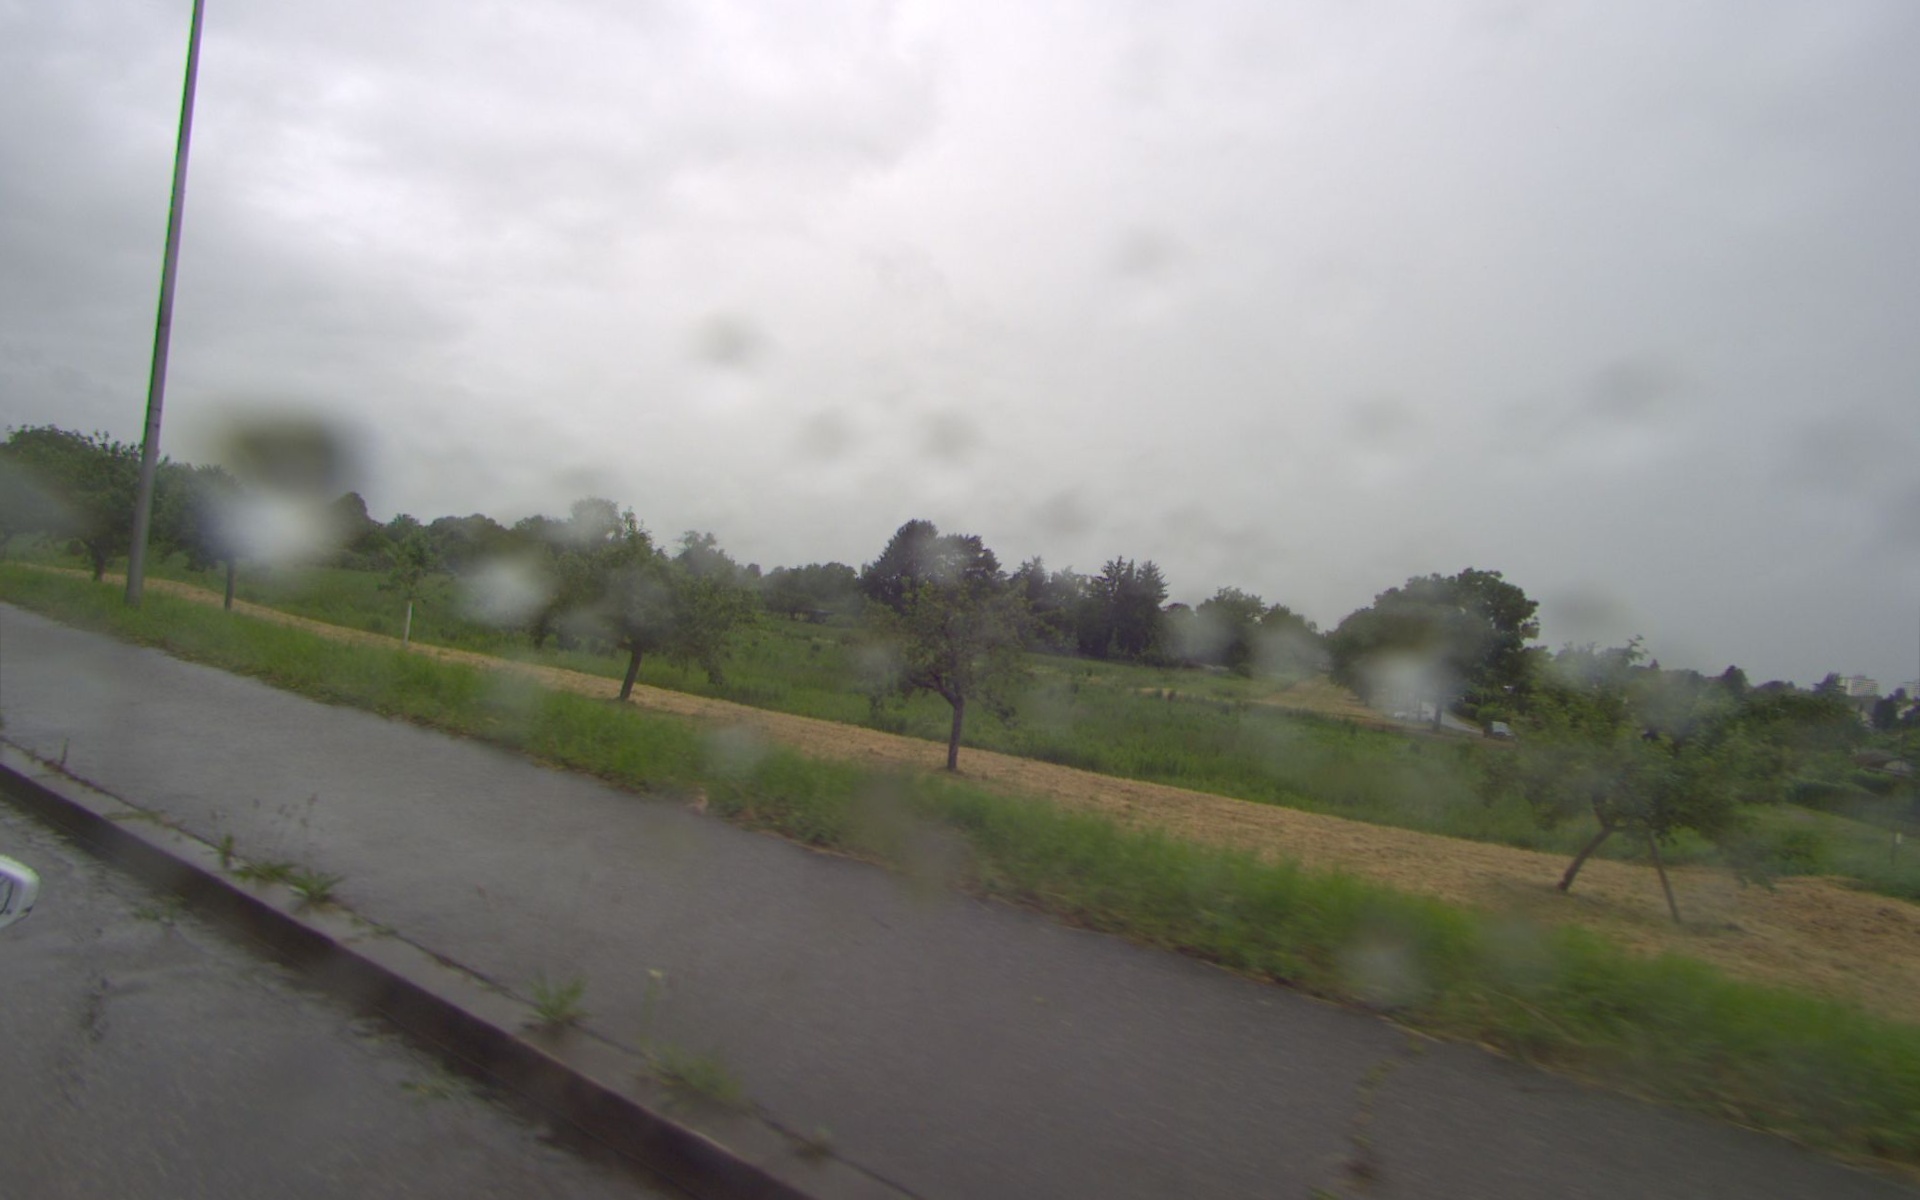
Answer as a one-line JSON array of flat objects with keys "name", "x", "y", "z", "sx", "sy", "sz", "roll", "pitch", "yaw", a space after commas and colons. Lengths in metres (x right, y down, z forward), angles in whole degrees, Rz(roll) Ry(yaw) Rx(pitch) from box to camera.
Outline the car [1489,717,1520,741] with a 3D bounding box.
[{"name": "car", "x": 43.862, "y": 10.366, "z": 81.132, "sx": 1.768, "sy": 1.528, "sz": 4.000, "roll": 6, "pitch": -2, "yaw": 24}]
